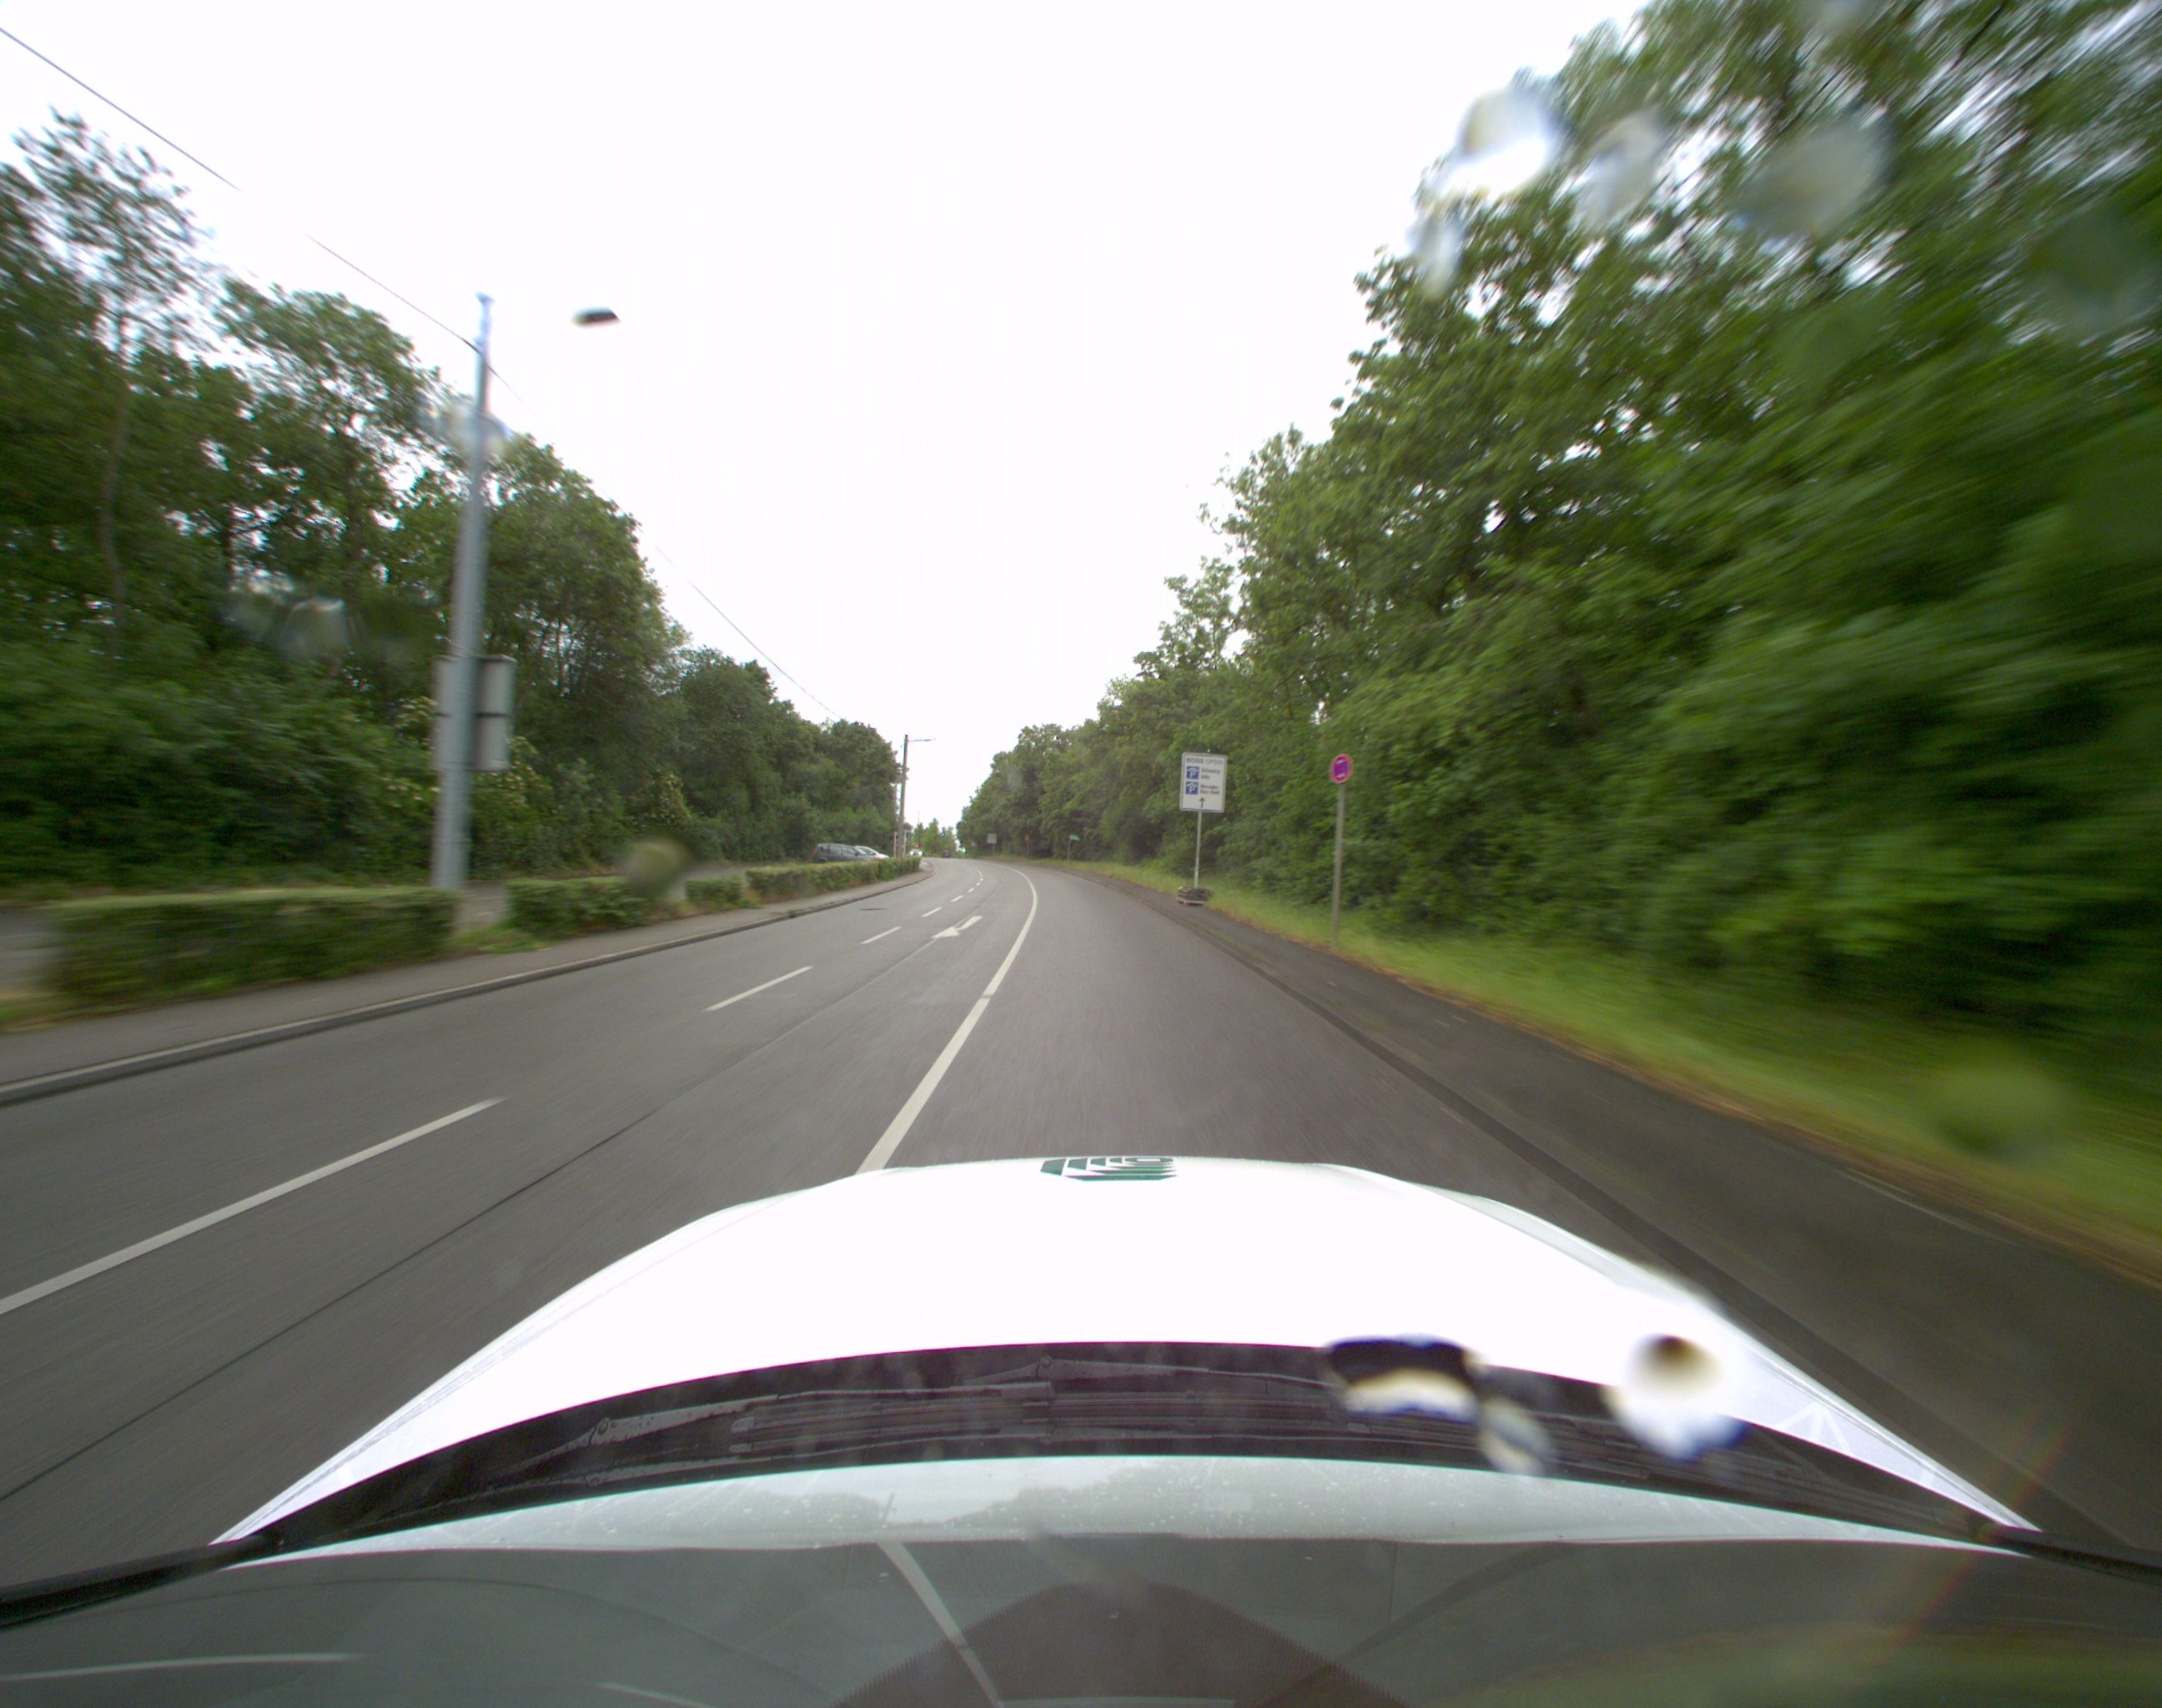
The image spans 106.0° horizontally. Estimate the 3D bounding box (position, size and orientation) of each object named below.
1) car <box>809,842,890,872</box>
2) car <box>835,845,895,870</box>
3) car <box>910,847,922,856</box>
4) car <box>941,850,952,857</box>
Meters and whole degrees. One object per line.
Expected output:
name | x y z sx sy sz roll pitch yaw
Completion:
car | -13.901 0.191 49.084 4.280 1.708 1.998 1 0 -3
car | -14.479 0.224 54.700 3.644 1.591 1.846 1 0 -10
car | -28.084 -0.368 138.661 1.937 1.498 4.300 1 0 -12
car | -28.295 -0.120 171.094 1.933 1.498 4.309 1 0 -6
